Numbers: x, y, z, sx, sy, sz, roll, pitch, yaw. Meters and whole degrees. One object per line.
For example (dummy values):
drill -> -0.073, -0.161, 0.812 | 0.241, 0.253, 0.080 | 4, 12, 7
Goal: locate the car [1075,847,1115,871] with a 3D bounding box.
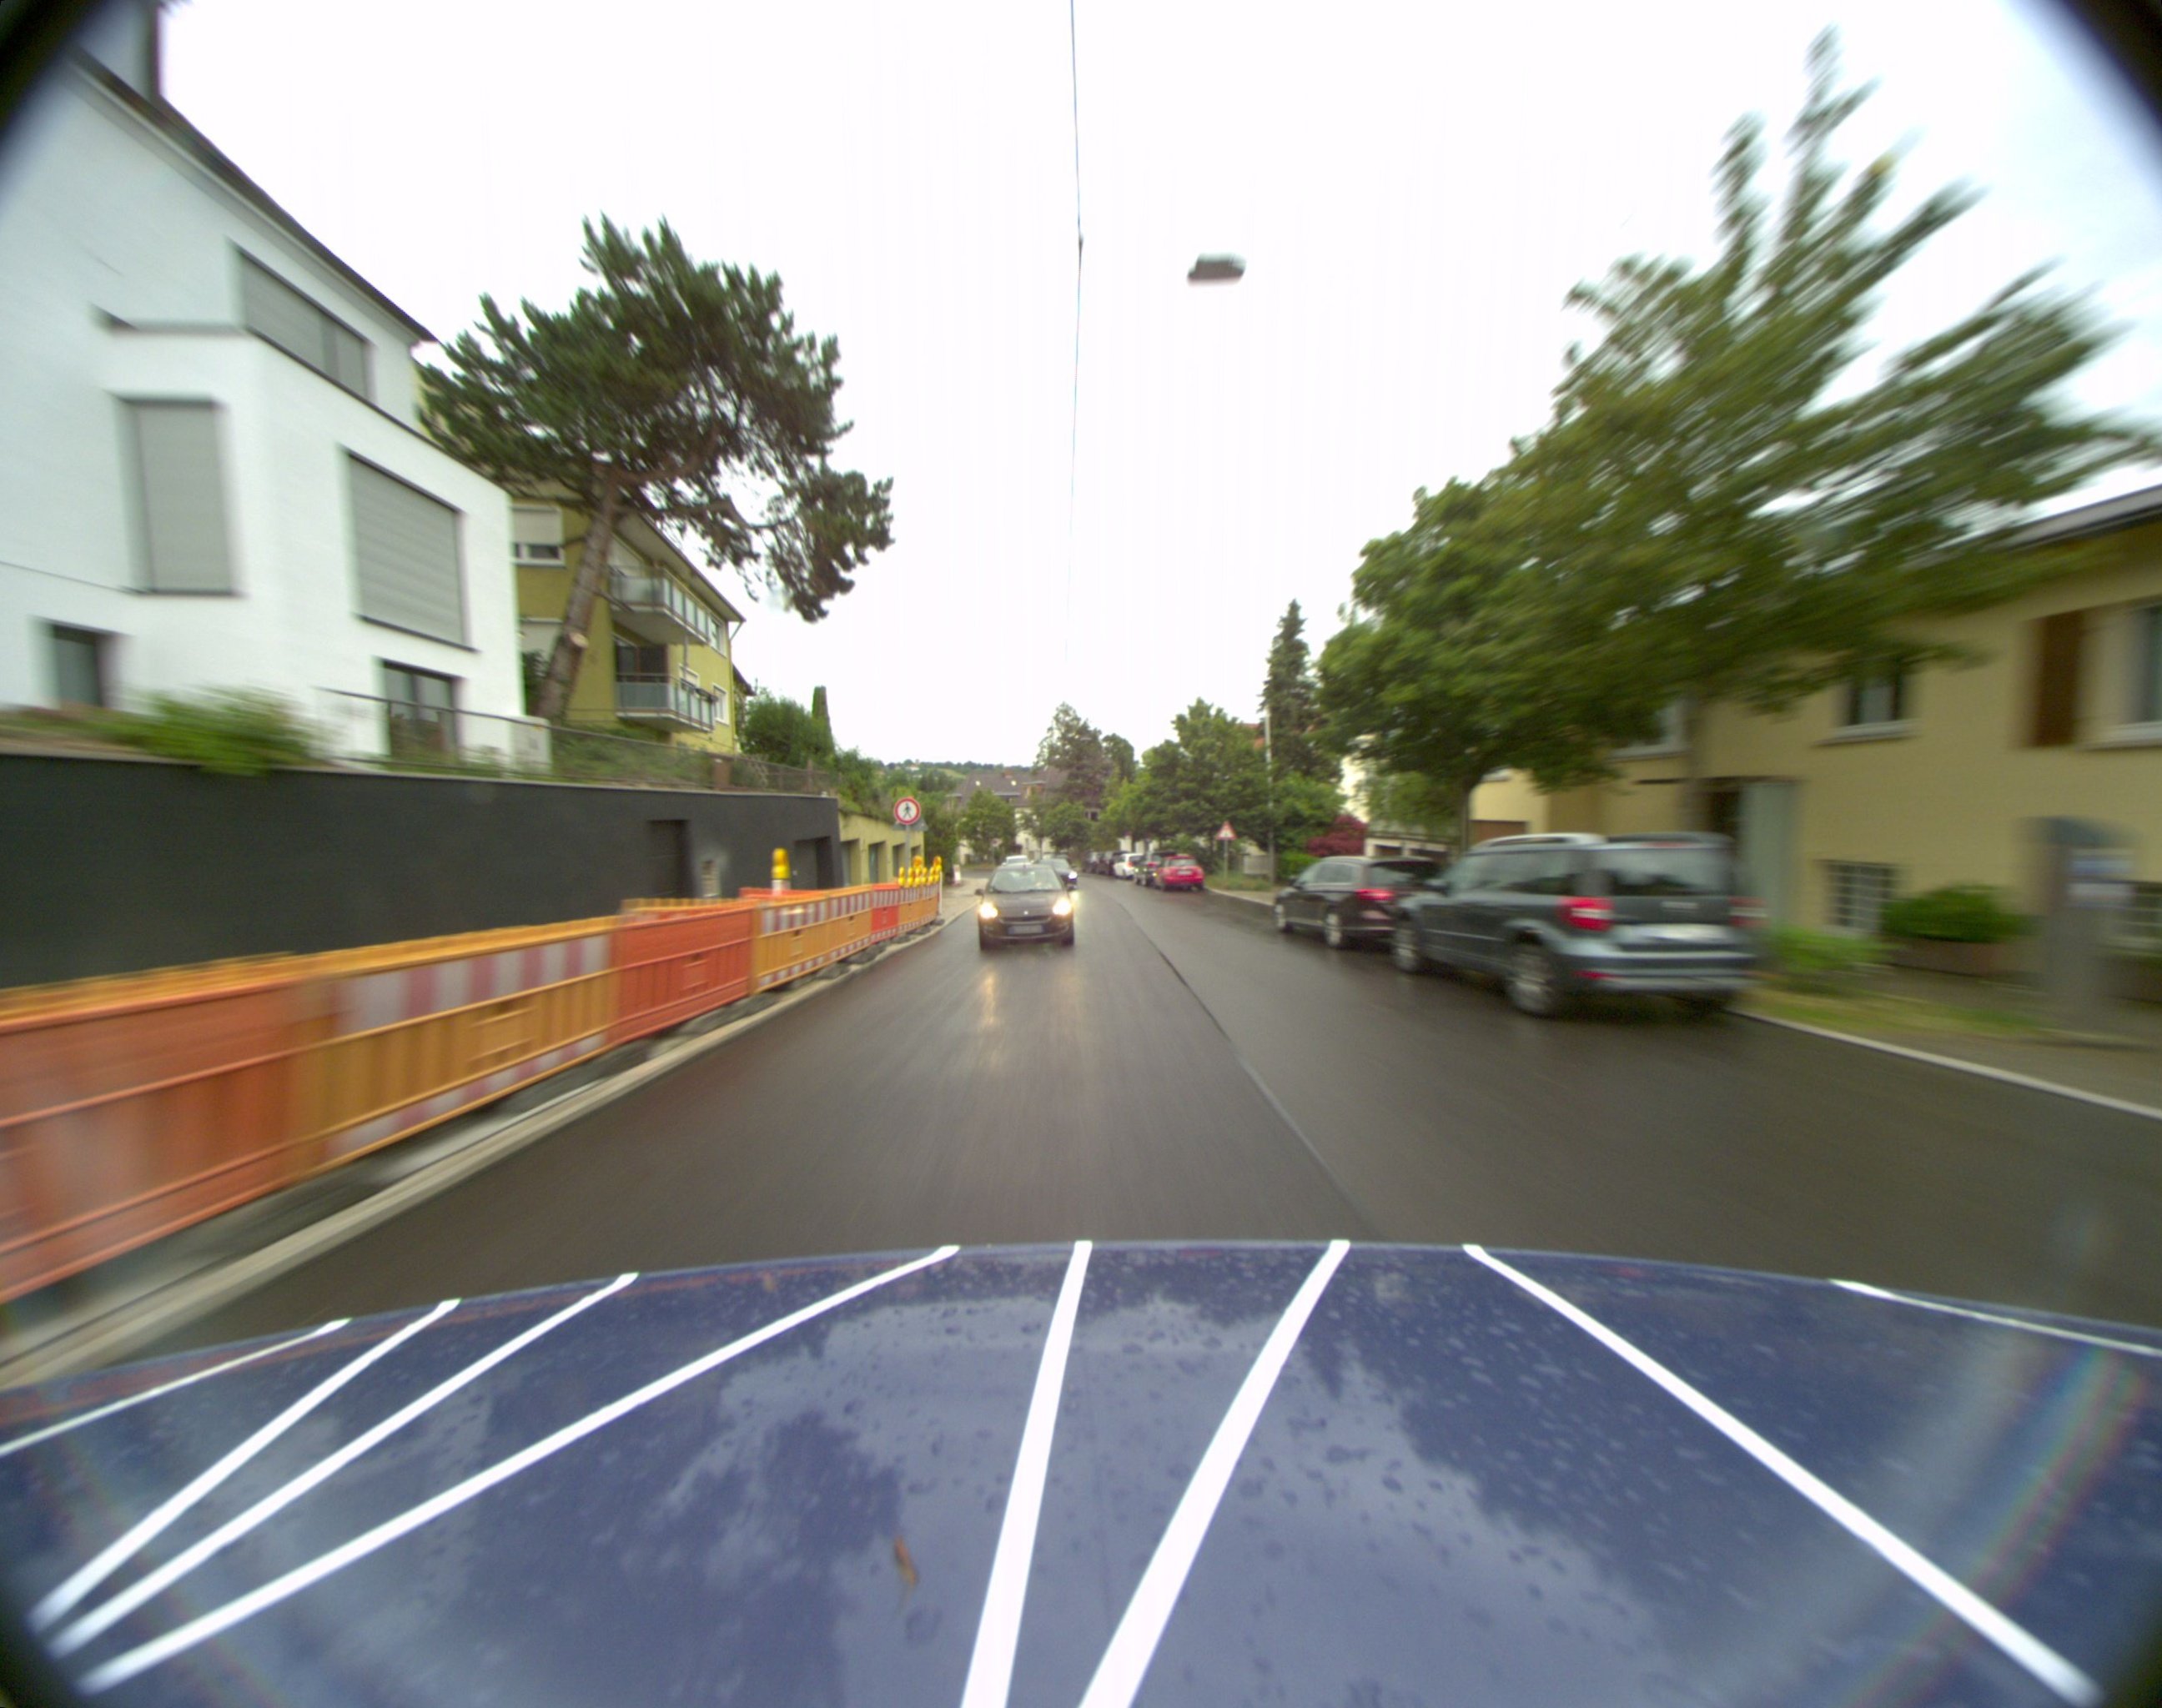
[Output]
car -> 0.973, 0.322, 55.933 | 1.873, 1.537, 4.898 | -3, 2, -12

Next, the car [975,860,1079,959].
car -> -1.049, 0.937, 14.985 | 1.674, 1.458, 4.713 | -2, 1, -4

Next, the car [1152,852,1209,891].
car -> 4.102, 0.681, 31.934 | 1.687, 1.463, 3.863 | -1, 1, -3

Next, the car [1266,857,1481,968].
car -> 4.697, 0.835, 13.044 | 1.773, 1.526, 4.604 | 0, 0, -2

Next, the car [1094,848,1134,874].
car -> 2.116, 0.414, 50.395 | 1.739, 1.537, 4.205 | -3, 2, -9

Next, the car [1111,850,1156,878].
car -> 3.056, 0.563, 44.862 | 1.739, 1.458, 3.996 | -3, 1, -9

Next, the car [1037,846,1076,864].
car -> -2.163, 0.104, 66.293 | 1.677, 1.458, 3.885 | -3, 1, -29

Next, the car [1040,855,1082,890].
car -> -0.997, 0.838, 35.822 | 1.843, 1.395, 4.069 | -2, 1, -3

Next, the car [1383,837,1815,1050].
car -> 4.872, 0.699, 8.005 | 1.772, 1.625, 4.109 | -2, 0, 1

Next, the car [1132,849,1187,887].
car -> 3.696, 0.601, 36.560 | 1.806, 1.659, 4.423 | -1, 1, -5

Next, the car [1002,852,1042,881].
car -> -4.002, 0.803, 50.798 | 2.002, 1.699, 4.568 | -3, 1, -12
